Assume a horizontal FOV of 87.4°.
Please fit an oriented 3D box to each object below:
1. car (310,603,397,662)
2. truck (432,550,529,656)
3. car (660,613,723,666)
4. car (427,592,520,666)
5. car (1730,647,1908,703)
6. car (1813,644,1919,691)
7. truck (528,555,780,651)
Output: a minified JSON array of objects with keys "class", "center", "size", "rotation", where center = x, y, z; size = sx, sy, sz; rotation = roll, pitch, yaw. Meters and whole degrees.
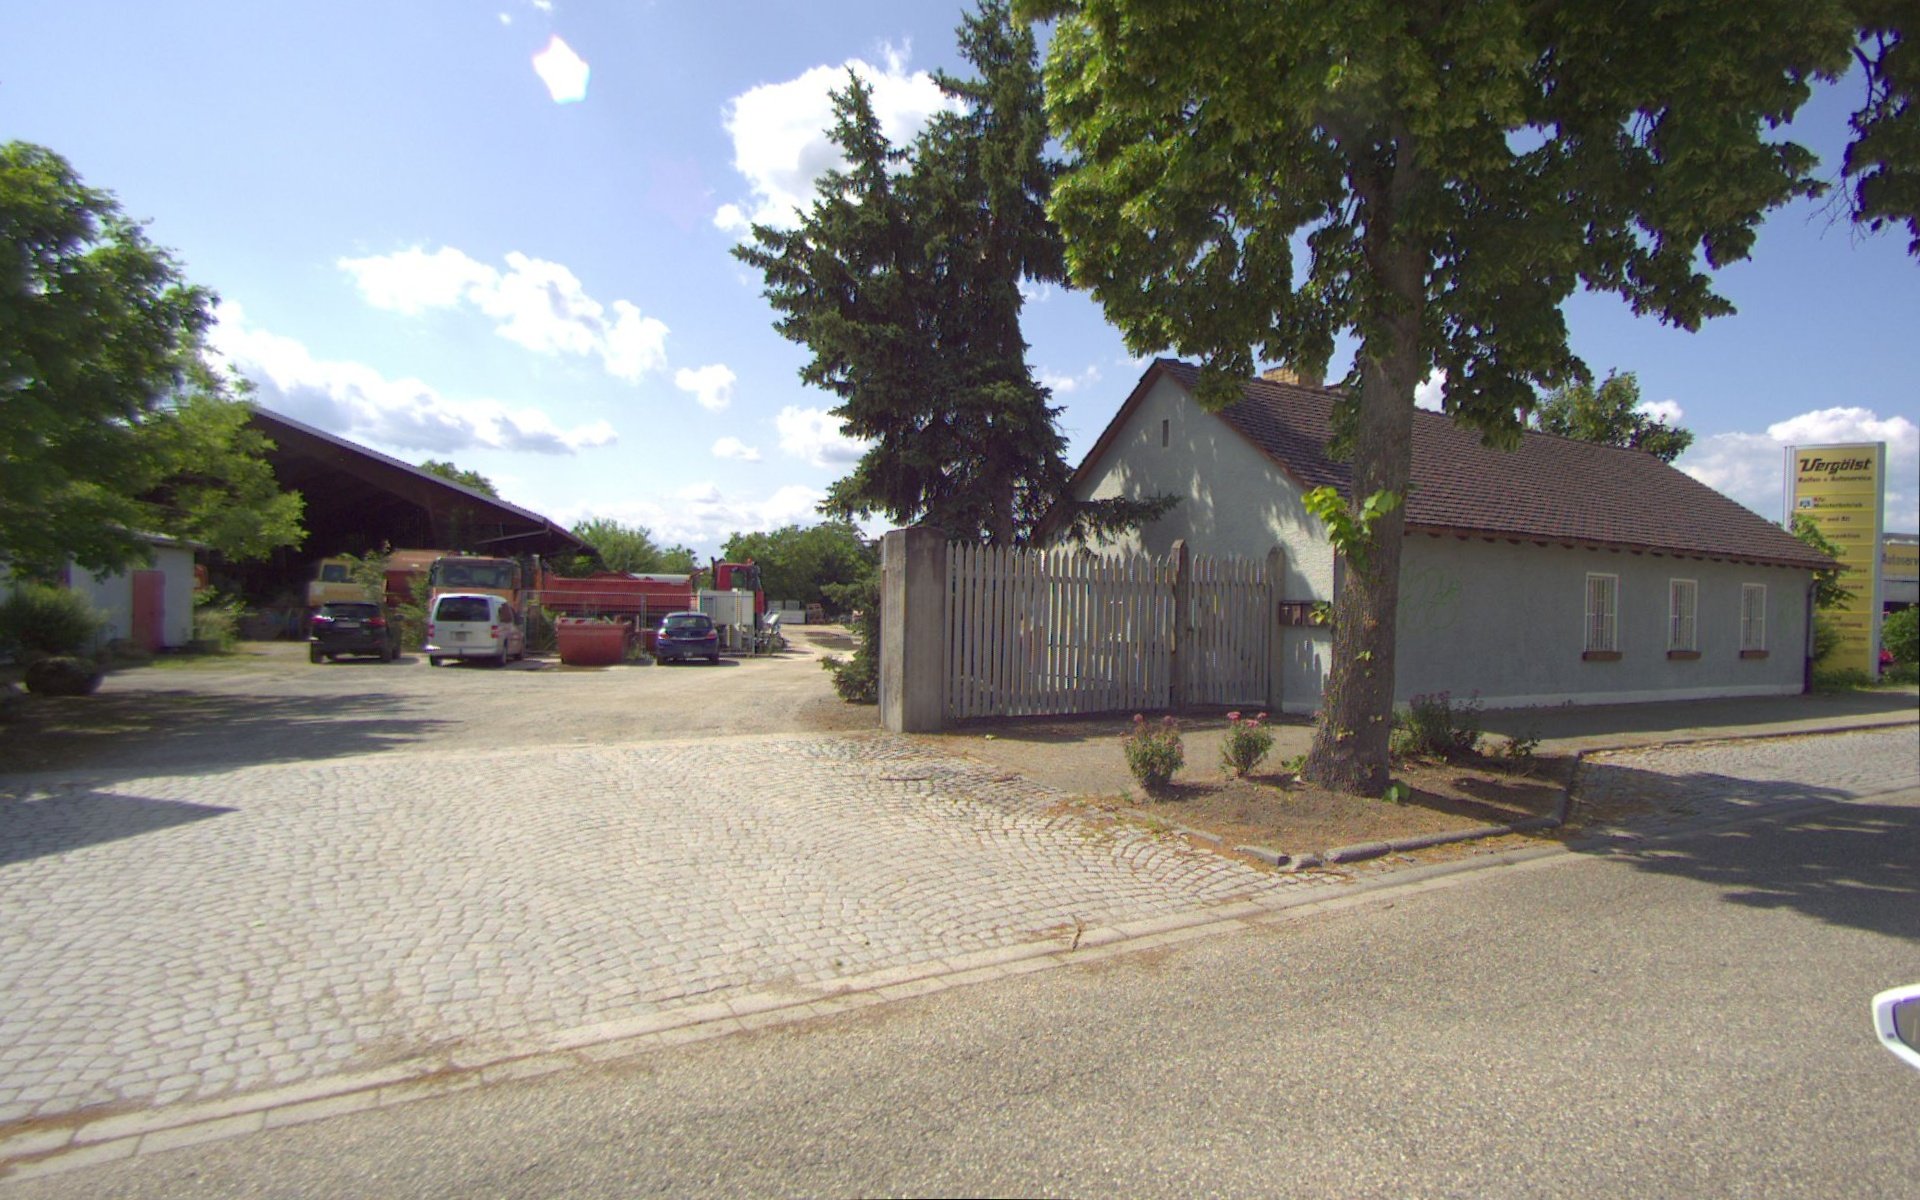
[{"class":"car","center":[-16.066,0.852,26.741],"size":[1.680,1.475,3.337],"rotation":[1,-2,-27]},{"class":"truck","center":[-15.172,0.115,32.056],"size":[2.098,3.106,4.699],"rotation":[1,-1,-18]},{"class":"car","center":[-7.666,1.089,28.517],"size":[1.563,1.375,3.347],"rotation":[1,-1,-18]},{"class":"car","center":[-12.651,0.750,26.308],"size":[1.821,1.799,3.344],"rotation":[1,-1,-20]},{"class":"car","center":[26.246,2.248,30.849],"size":[1.703,1.441,3.834],"rotation":[1,0,-17]},{"class":"car","center":[30.285,2.183,32.746],"size":[3.745,1.396,1.870],"rotation":[-1,-1,41]},{"class":"truck","center":[-10.426,0.178,34.740],"size":[8.065,3.054,1.992],"rotation":[1,0,-18]}]
